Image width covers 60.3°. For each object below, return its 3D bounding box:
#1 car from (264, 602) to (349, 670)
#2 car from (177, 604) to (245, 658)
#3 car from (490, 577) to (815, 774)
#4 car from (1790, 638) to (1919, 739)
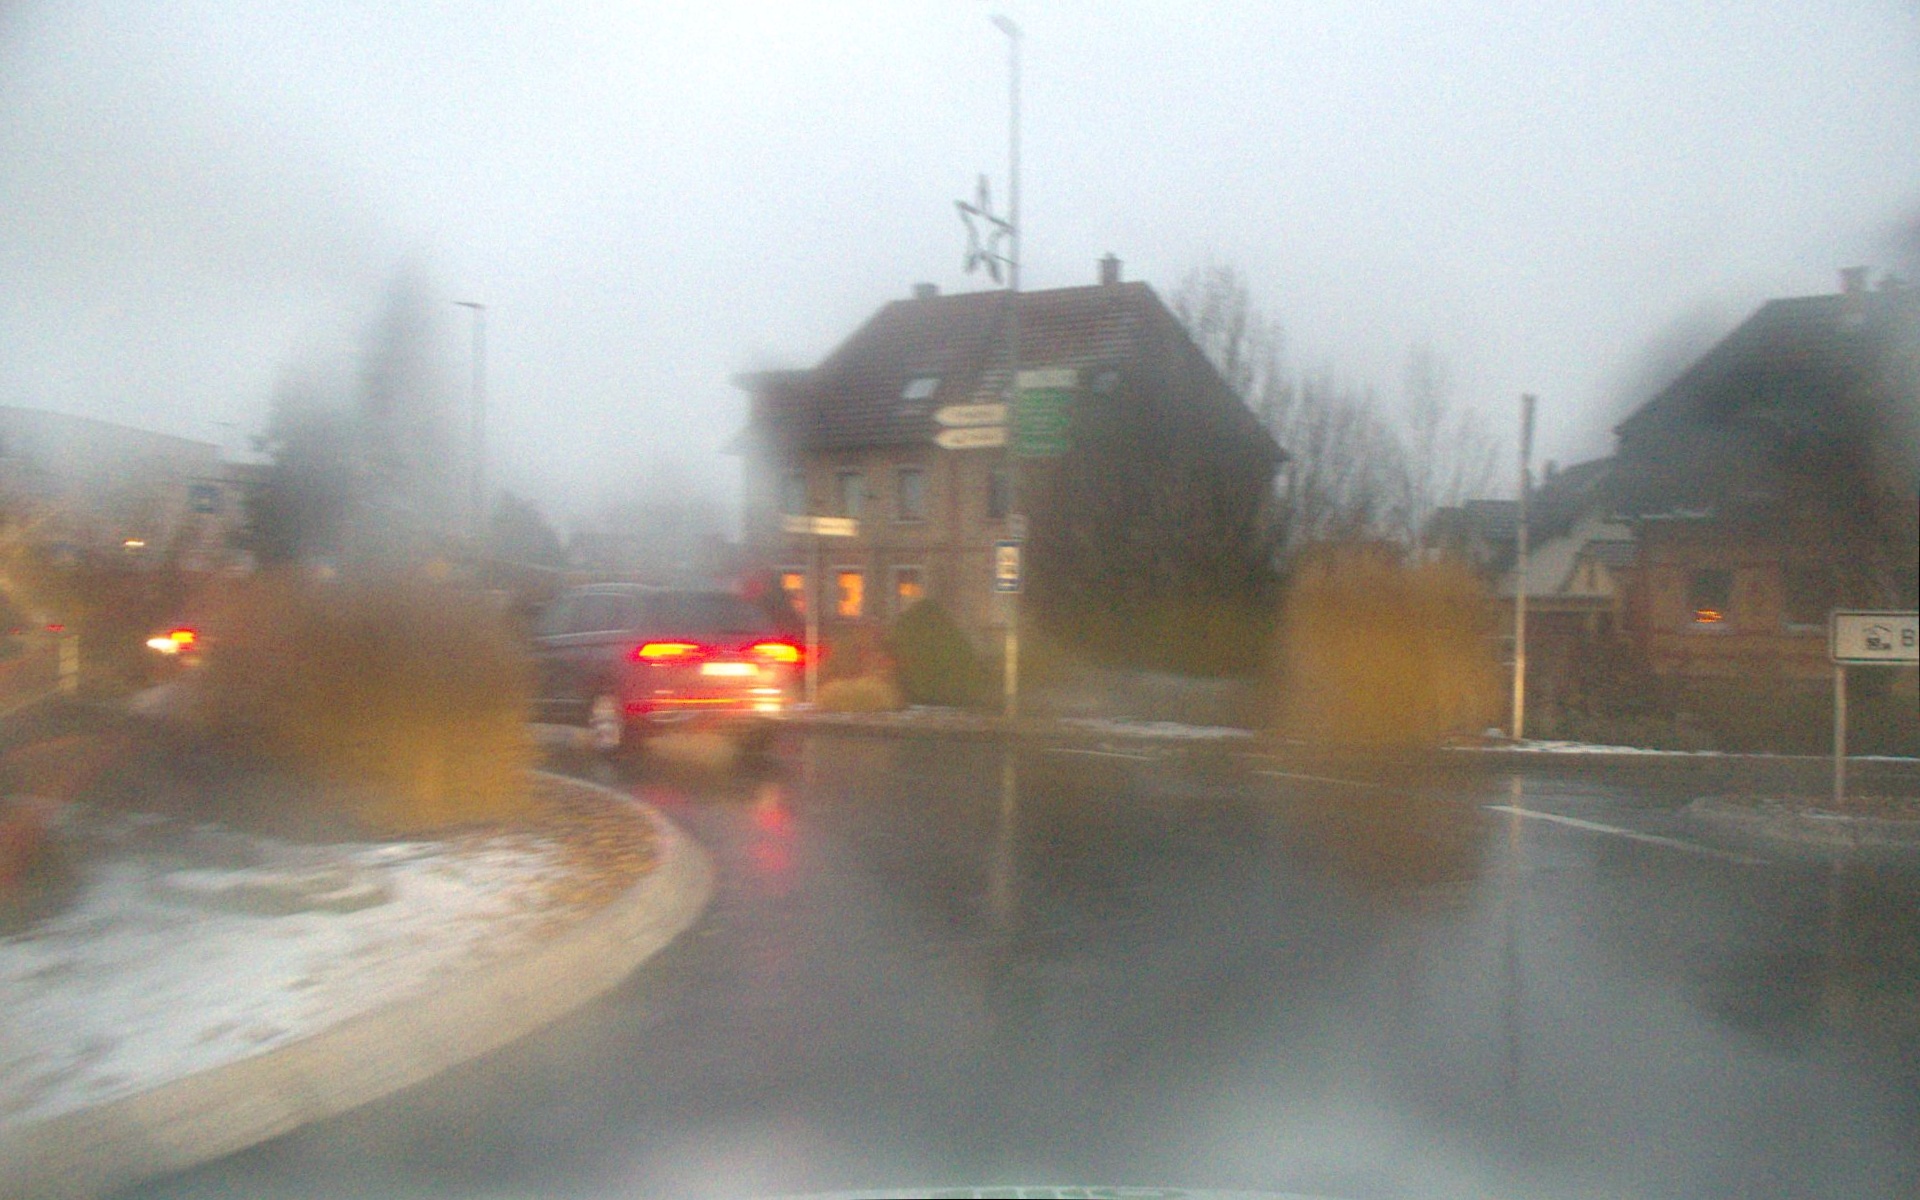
[{"bbox_3d":[-16.797,0.930,42.403,1.858,1.643,4.536,0,-2,-24],"label":"car"},{"bbox_3d":[-23.332,0.990,51.600,1.858,1.575,4.536,0,-2,-24],"label":"car"},{"bbox_3d":[-3.261,0.676,16.956,1.926,1.748,3.954,1,0,-33],"label":"car"},{"bbox_3d":[19.513,1.732,32.861,5.217,1.898,2.362,-1,0,32],"label":"car"}]
